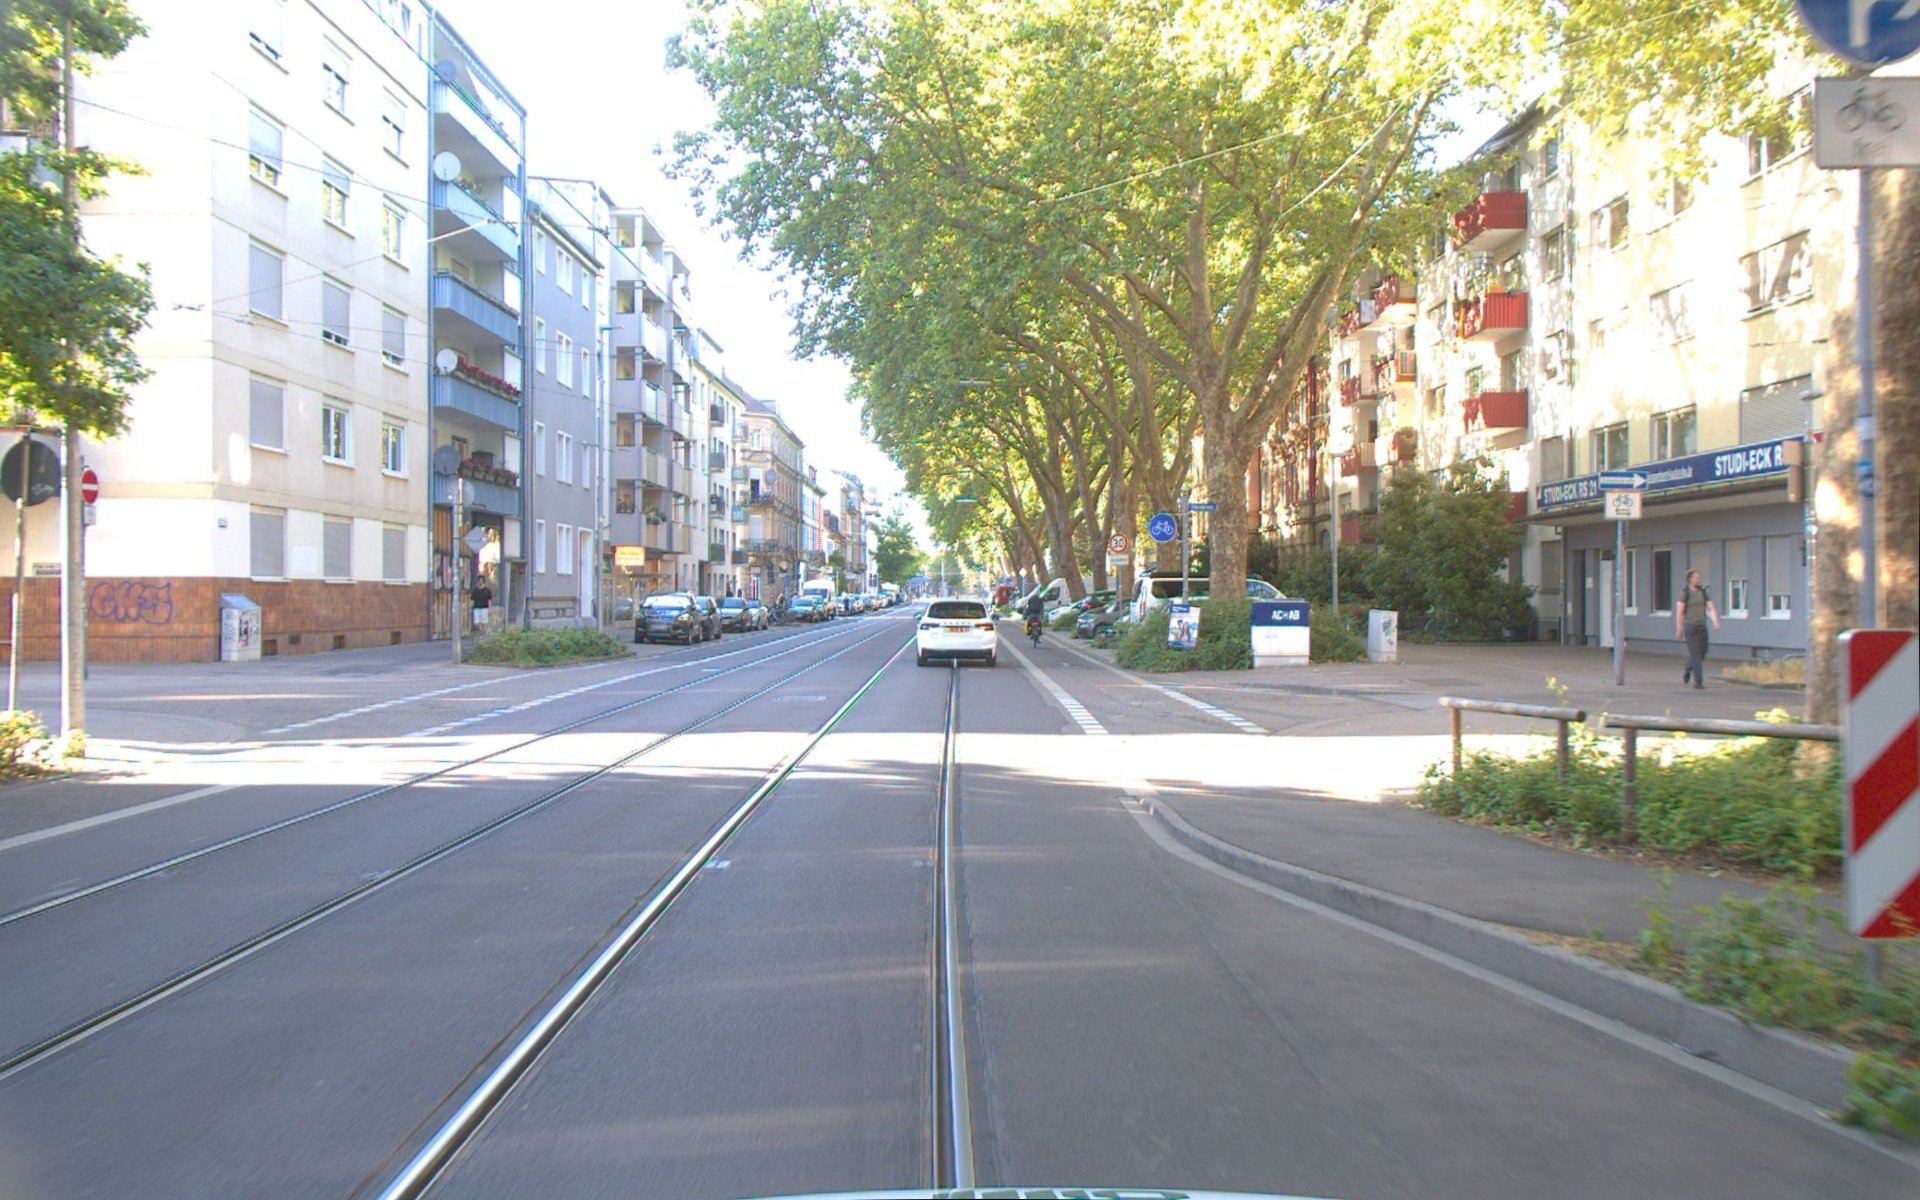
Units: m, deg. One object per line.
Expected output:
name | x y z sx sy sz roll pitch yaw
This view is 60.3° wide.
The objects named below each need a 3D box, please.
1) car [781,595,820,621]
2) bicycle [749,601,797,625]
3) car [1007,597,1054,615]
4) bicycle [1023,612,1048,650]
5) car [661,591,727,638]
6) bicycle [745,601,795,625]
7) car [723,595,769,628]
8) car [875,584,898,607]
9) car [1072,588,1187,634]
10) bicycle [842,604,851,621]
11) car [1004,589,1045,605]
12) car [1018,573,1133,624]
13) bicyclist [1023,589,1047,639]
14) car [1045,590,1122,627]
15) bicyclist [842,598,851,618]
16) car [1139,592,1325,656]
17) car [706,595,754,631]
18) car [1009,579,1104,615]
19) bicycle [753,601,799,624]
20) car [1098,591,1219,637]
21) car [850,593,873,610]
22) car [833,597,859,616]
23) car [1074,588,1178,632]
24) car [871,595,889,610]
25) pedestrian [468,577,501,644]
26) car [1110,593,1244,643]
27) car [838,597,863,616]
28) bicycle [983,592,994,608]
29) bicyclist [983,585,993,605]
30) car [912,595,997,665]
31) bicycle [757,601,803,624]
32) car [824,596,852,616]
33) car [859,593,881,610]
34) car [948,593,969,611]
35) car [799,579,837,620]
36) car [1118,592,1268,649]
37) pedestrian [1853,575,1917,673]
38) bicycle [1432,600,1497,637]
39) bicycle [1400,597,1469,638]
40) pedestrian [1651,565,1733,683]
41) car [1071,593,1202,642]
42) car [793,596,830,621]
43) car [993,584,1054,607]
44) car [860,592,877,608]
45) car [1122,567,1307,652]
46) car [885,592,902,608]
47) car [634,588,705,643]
car | -9.580 0.481 99.677 1.953 1.557 4.000 0 0 0
bicycle | -10.003 0.681 88.525 2.476 1.193 0.718 2 -2 -7
car | 6.138 0.546 144.540 3.966 1.567 2.000 0 0 -1
bicycle | 2.227 0.905 49.153 0.667 1.089 1.781 -1 0 0
car | -9.575 0.516 59.855 1.667 1.571 4.241 2 0 0
bicycle | -10.062 0.678 87.642 2.509 1.193 0.870 3 -2 -40
car | -9.744 0.507 75.648 1.454 1.428 3.991 0 0 2
car | -10.352 -0.588 234.289 2.907 3.211 5.846 1 0 0
car | 6.391 0.415 62.734 4.149 1.695 1.847 0 0 -1
bicycle | -7.556 0.826 109.996 0.593 1.089 1.582 -1 0 -3
car | 6.418 -0.272 164.057 3.966 1.567 2.000 0 0 -1
car | 6.248 -0.091 89.905 6.007 2.681 2.528 0 0 -2
bicyclist | 2.225 0.408 49.284 0.664 1.468 1.047 -1 0 0
car | 5.782 0.393 77.648 3.558 1.695 1.822 0 0 2
bicyclist | -7.561 0.528 110.081 0.585 1.308 0.916 -1 0 -3
car | 6.581 0.567 40.336 4.210 1.505 1.830 0 0 -1
car | -9.764 0.536 70.303 1.620 1.462 3.835 0 0 -2
car | 6.321 -0.178 108.525 6.007 2.322 2.528 0 0 -2
bicycle | -10.047 0.675 90.399 2.475 1.193 0.718 2 -2 -5
car | 6.753 0.477 56.568 3.906 1.540 1.760 0 0 -1
car | -9.559 0.131 161.040 1.953 1.557 4.000 0 0 0
car | -9.676 0.529 140.882 1.953 1.557 4.000 0 0 0
car | 6.493 0.377 65.041 3.906 1.709 1.723 0 0 -1
car | -9.375 0.310 193.558 1.953 1.668 4.000 1 0 0
pedestrian | -13.238 0.291 46.084 0.650 1.858 0.965 0 0 -2
car | 6.775 0.547 51.875 3.953 1.505 1.923 0 0 0
car | -9.607 0.560 145.691 1.953 1.557 4.000 0 0 0
bicycle | 1.956 -0.021 114.498 0.636 1.089 1.582 -1 0 -2
bicyclist | 1.960 -0.352 114.481 0.636 1.367 0.934 -1 0 -2
car | -0.099 0.604 35.799 1.725 1.408 4.000 -1 0 0
bicycle | -10.050 0.679 92.303 2.476 1.193 0.718 2 -2 -7
car | -9.678 0.471 131.729 1.953 1.557 4.000 0 0 0
car | -9.114 0.151 167.733 1.953 1.668 4.000 1 0 0
car | -0.101 0.190 141.319 1.725 1.501 4.000 -1 0 0
car | -9.555 -0.039 111.403 2.134 2.642 4.948 0 0 0
car | 6.393 0.546 45.627 3.820 1.505 1.722 0 0 -3
pedestrian | 15.861 0.408 28.360 0.731 1.673 0.666 0 0 1
bicycle | 15.360 0.567 50.370 1.756 1.060 0.617 -2 0 -4
bicycle | 14.464 0.541 50.431 1.908 1.177 0.571 -2 0 -8
pedestrian | 12.013 0.382 27.183 0.751 1.899 1.187 -1 0 -4
car | 5.751 0.557 54.121 4.059 1.540 1.930 0 0 -1
car | -9.441 0.513 105.459 1.953 1.557 4.000 0 0 0
car | 6.457 -0.452 168.750 6.007 2.322 2.528 0 0 -2
car | -11.787 -0.011 212.825 1.953 2.049 4.000 0 0 0
car | 6.560 0.235 42.915 4.453 2.113 2.000 0 0 -3
car | -8.652 -0.010 215.318 1.953 2.049 4.000 0 0 0
car | -9.581 0.493 54.871 1.668 1.679 4.240 2 0 -2
